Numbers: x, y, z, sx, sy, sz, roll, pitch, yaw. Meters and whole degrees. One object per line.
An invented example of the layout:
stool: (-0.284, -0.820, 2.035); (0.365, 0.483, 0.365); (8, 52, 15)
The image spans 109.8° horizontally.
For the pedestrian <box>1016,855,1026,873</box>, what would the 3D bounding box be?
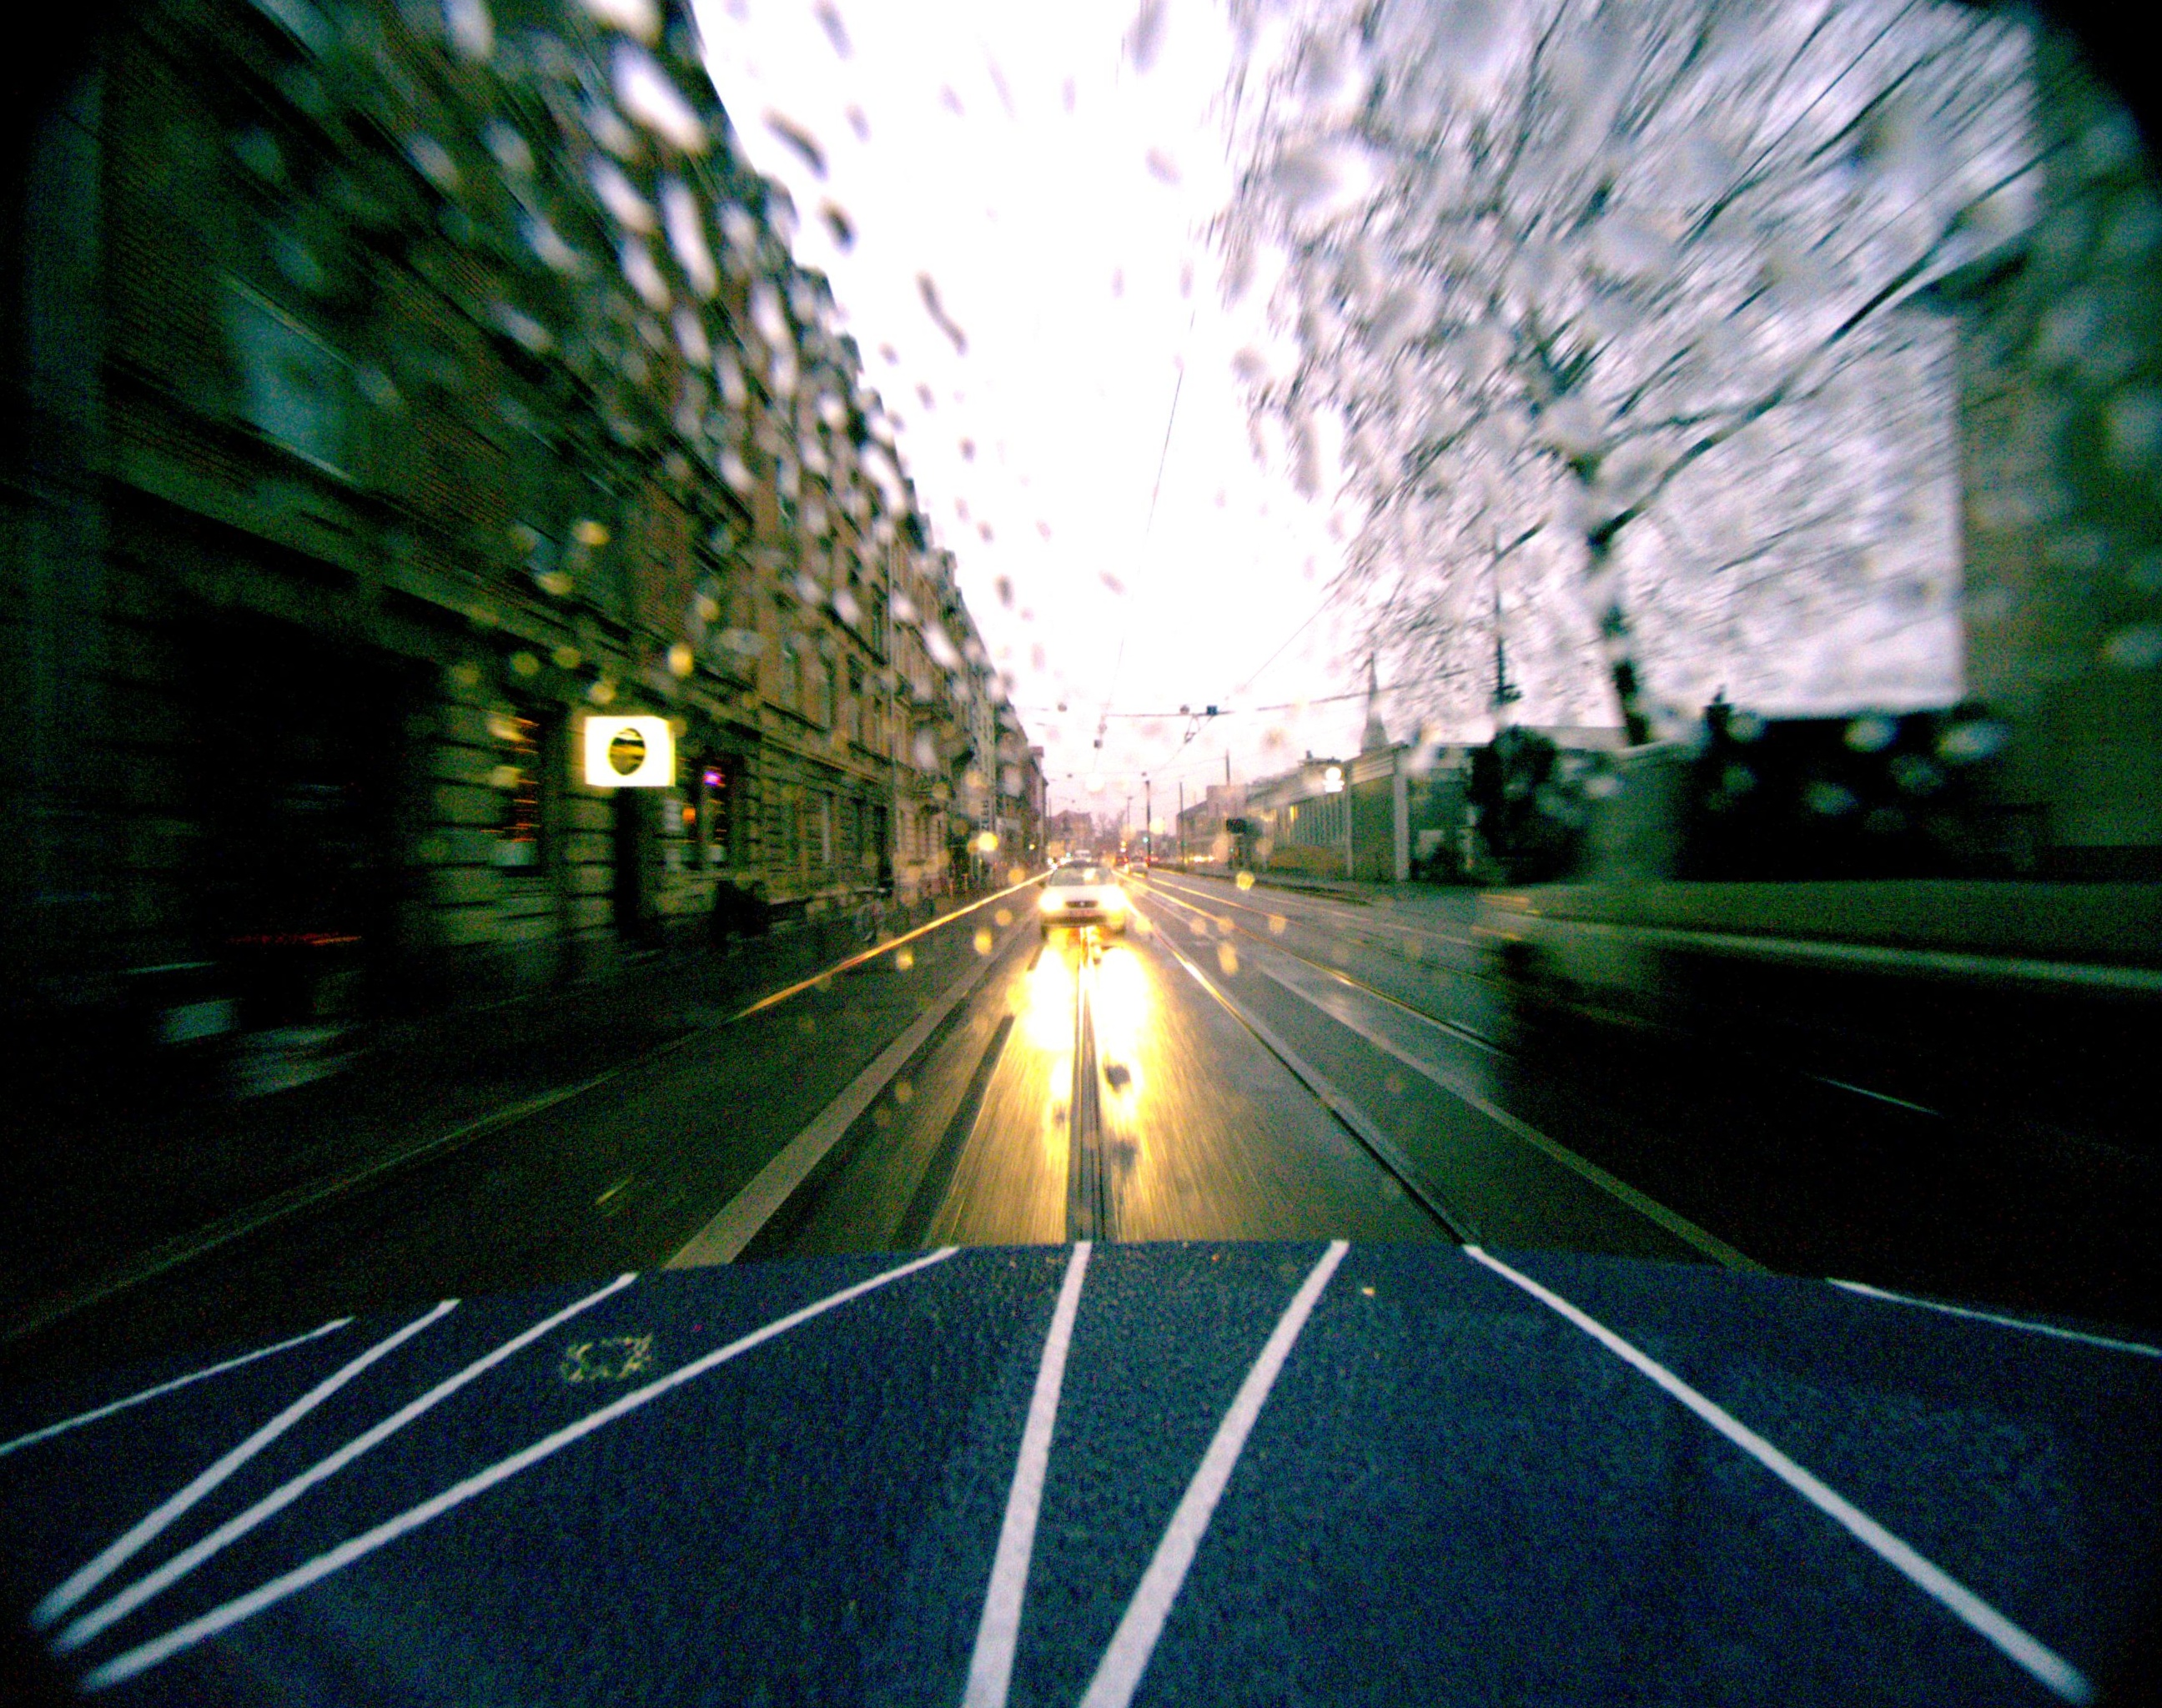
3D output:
pedestrian: (-5.440, 0.939, 68.926); (0.788, 1.588, 0.741); (-1, 1, -1)

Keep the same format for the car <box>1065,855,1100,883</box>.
car: (0.115, 0.803, 42.734); (1.797, 1.415, 4.000); (-2, 0, 2)

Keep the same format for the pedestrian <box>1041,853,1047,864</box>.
pedestrian: (-5.898, 0.650, 120.713); (0.777, 1.734, 0.673); (-1, 1, 1)

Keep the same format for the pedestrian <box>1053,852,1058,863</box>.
pedestrian: (-4.120, 0.597, 121.677); (0.777, 1.734, 0.673); (-1, 1, 1)

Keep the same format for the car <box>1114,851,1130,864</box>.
car: (5.595, 0.493, 104.701); (1.880, 1.700, 4.760); (-1, 0, 0)

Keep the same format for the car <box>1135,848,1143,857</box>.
car: (14.972, -0.381, 195.539); (1.998, 2.002, 4.685); (-2, 1, 4)

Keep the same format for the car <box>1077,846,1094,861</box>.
car: (0.518, -0.061, 95.241); (2.018, 1.809, 3.688); (-2, 1, 0)

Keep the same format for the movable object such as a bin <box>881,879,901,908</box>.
movable object such as a bin: (-6.250, 1.285, 24.970); (0.508, 0.926, 0.507); (-2, 0, -1)

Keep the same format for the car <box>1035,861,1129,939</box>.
car: (0.086, 0.931, 16.895); (1.797, 1.415, 4.000); (-2, 0, 2)

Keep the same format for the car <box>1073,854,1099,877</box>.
car: (0.385, 0.853, 56.938); (1.824, 1.565, 4.000); (-2, 0, 2)

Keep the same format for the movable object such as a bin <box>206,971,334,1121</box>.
movable object such as a bin: (-5.819, 1.356, 5.474); (0.490, 0.923, 0.424); (-1, 0, -26)

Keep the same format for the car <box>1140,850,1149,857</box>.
car: (14.591, -0.098, 174.911); (1.845, 1.569, 4.442); (-1, 0, 2)

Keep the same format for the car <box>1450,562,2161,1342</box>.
car: (4.480, 0.263, 3.856); (2.452, 2.334, 5.844); (-1, 1, 1)

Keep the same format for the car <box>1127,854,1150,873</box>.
car: (4.626, 0.739, 61.424); (1.534, 1.473, 3.561); (-1, 0, 1)

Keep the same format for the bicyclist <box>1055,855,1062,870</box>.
bicyclist: (-2.310, 0.859, 77.979); (0.727, 1.525, 0.785); (-2, 1, 0)

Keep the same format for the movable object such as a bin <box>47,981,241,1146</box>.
movable object such as a bin: (-6.037, 1.331, 4.923); (0.613, 0.923, 0.491); (-1, 0, -1)

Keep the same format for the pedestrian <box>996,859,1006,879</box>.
pedestrian: (-5.757, 1.092, 54.457); (0.601, 1.369, 0.728); (-2, 1, 0)

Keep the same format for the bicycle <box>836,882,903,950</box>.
bicycle: (-4.222, 1.211, 15.349); (0.685, 1.149, 2.188); (-2, 1, 1)

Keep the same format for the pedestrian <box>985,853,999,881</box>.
pedestrian: (-5.770, 0.830, 49.246); (0.601, 1.808, 0.774); (-3, 1, -27)

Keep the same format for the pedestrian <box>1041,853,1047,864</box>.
pedestrian: (-5.931, 0.671, 121.621); (0.777, 1.734, 0.673); (0, 1, 1)

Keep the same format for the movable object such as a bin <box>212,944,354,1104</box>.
movable object such as a bin: (-6.167, 1.284, 5.904); (0.614, 1.074, 0.490); (-1, 0, -28)

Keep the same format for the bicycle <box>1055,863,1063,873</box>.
bicycle: (-2.285, 1.413, 77.943); (0.725, 0.985, 2.212); (-2, 0, 0)
